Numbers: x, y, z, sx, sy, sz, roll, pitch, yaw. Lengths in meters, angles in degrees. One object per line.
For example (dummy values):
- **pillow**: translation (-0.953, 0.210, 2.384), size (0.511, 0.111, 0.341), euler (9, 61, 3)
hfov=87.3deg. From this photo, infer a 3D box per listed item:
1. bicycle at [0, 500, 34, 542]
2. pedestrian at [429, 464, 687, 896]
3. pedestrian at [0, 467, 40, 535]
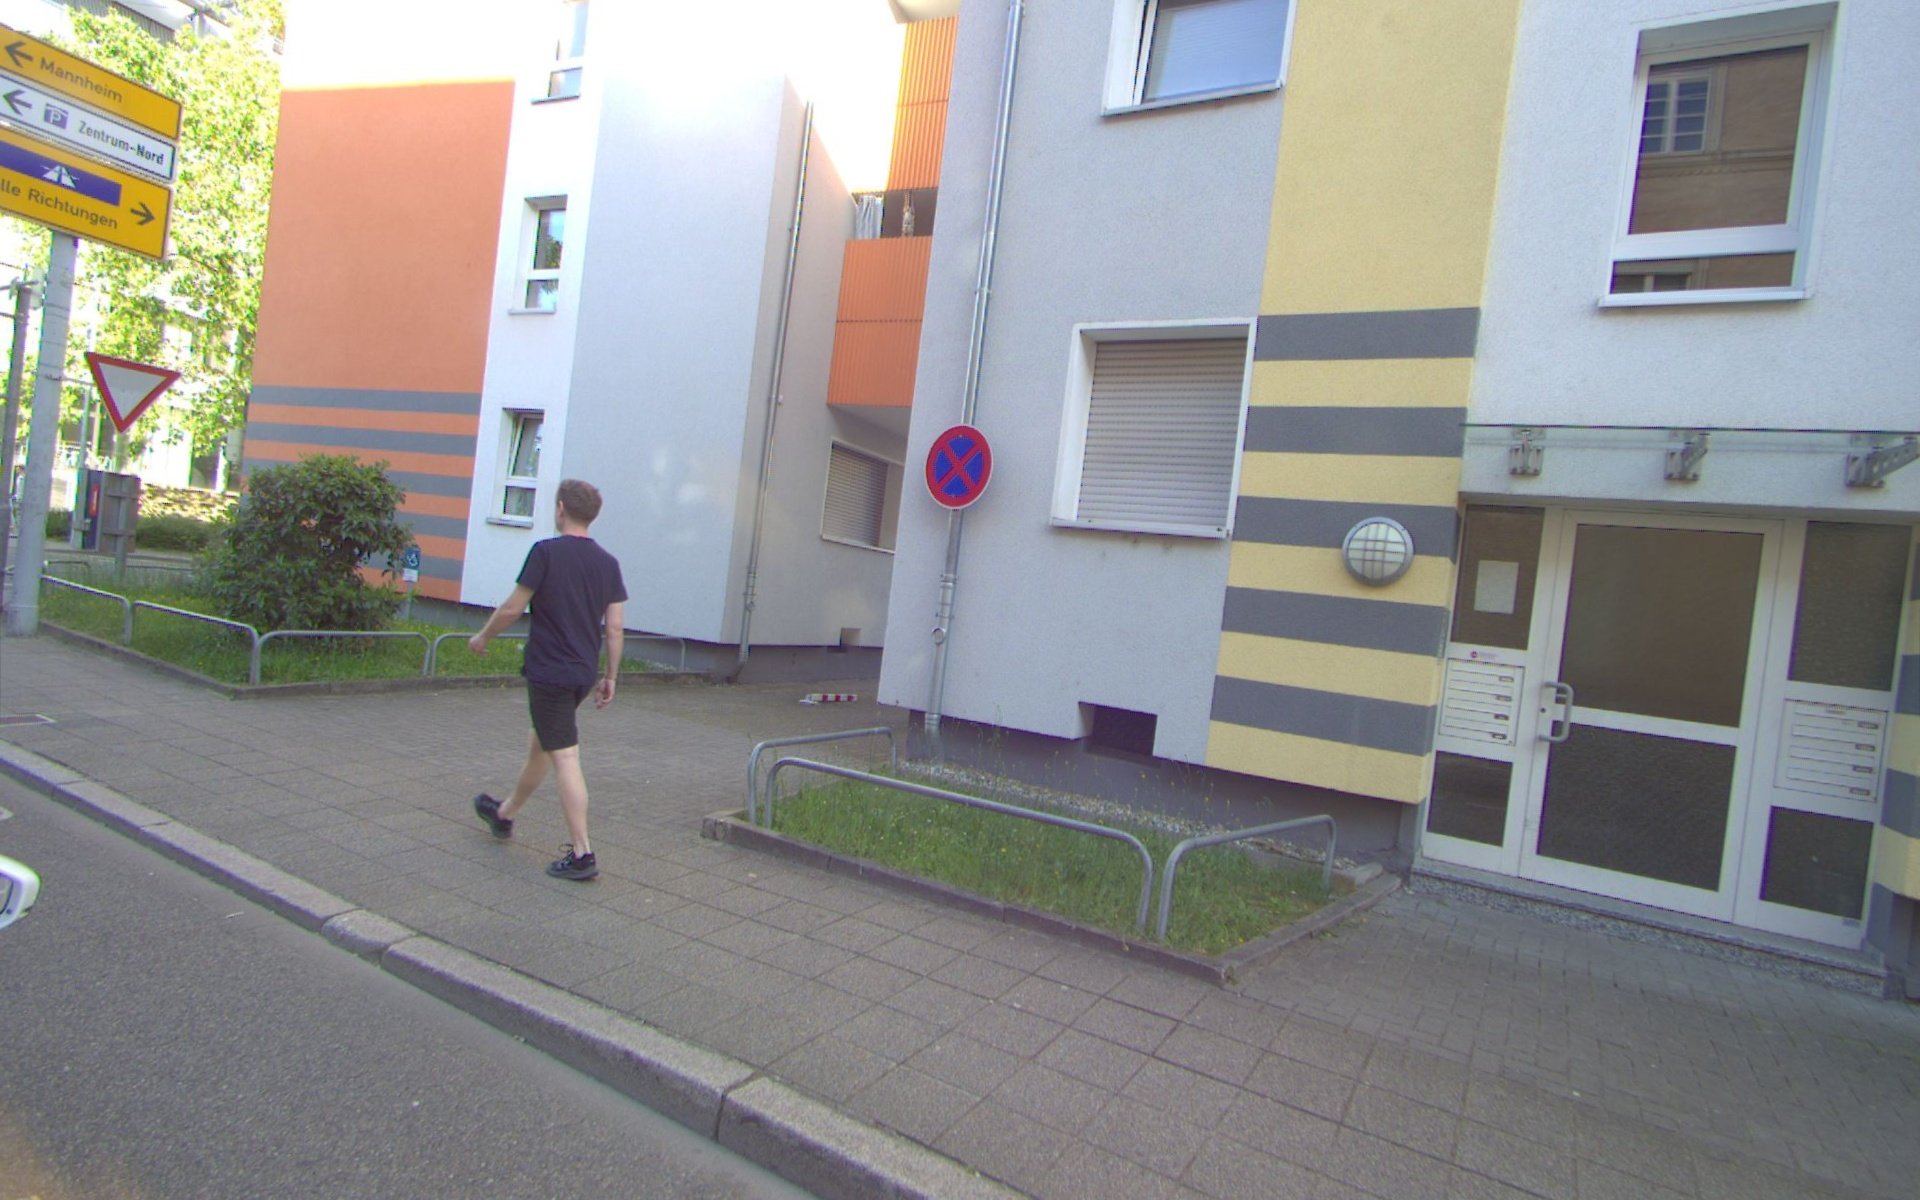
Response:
- **bicycle**: translation (-26.421, -2.235, 27.280), size (1.883, 1.062, 0.463), euler (7, 1, -10)
- **pedestrian**: translation (-1.903, 0.320, 4.747), size (0.901, 1.813, 0.643), euler (7, 4, 35)
- **pedestrian**: translation (-27.851, -2.917, 29.535), size (1.021, 1.854, 0.539), euler (7, 1, 2)
